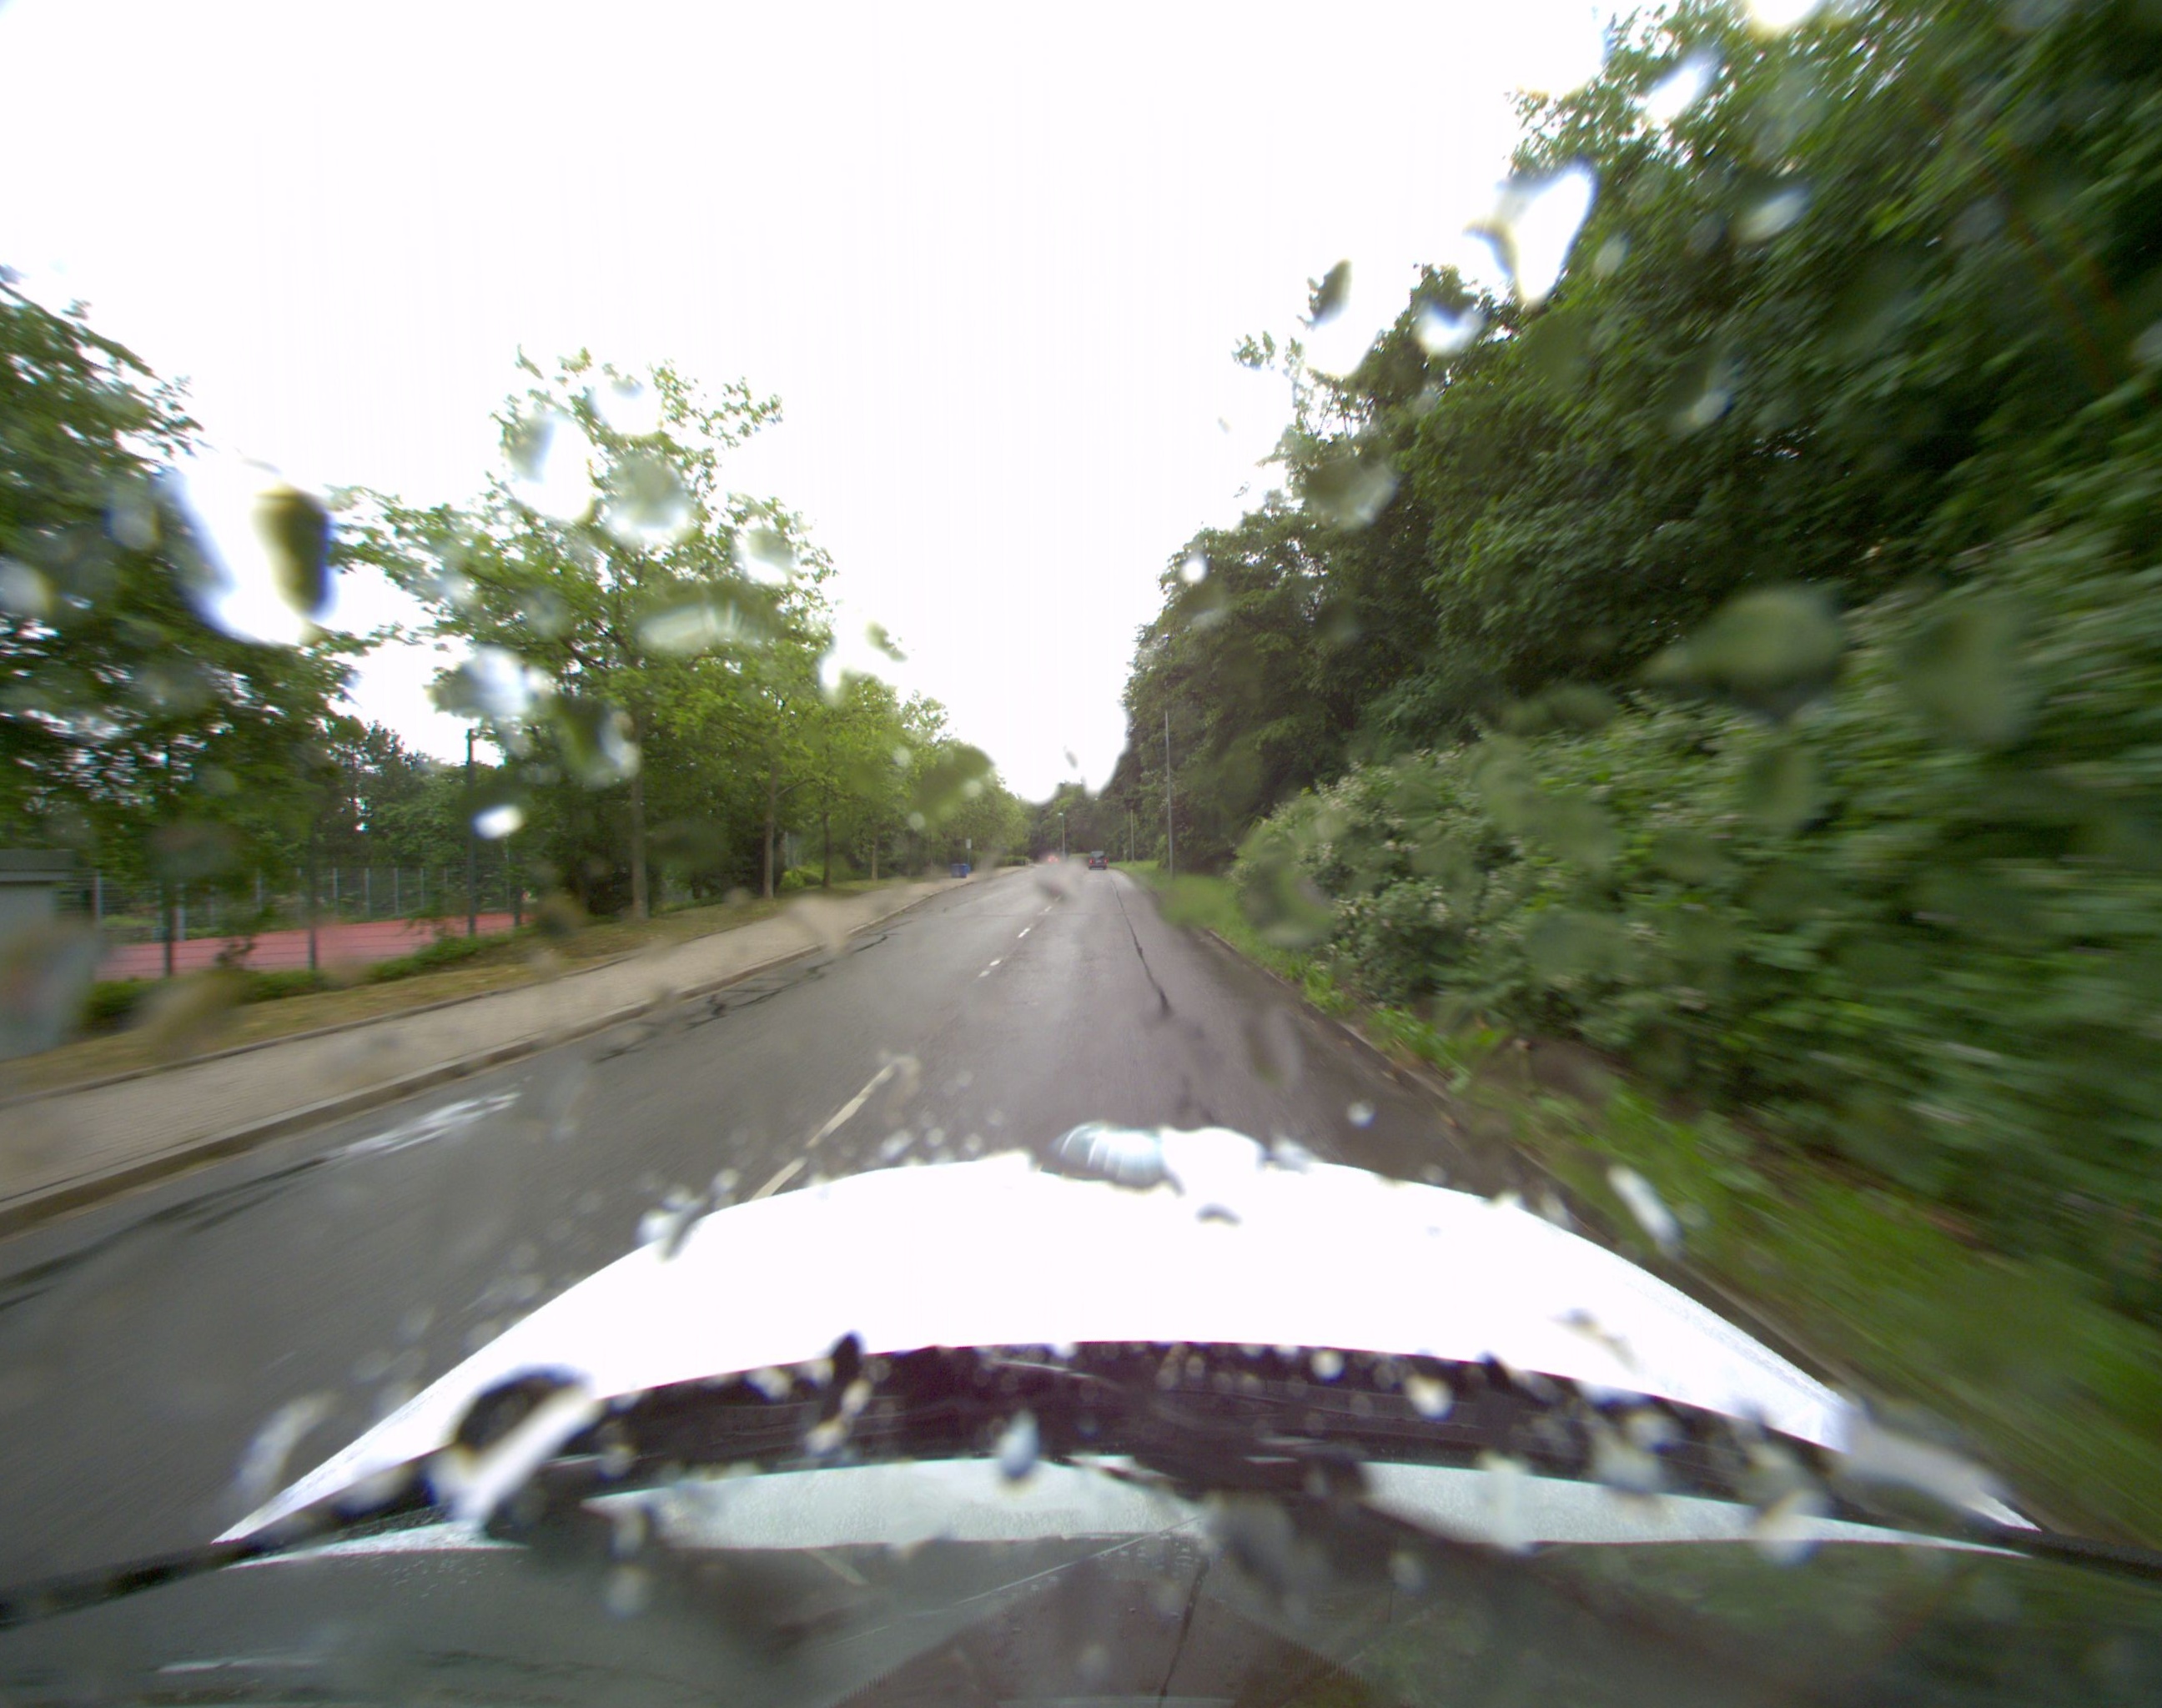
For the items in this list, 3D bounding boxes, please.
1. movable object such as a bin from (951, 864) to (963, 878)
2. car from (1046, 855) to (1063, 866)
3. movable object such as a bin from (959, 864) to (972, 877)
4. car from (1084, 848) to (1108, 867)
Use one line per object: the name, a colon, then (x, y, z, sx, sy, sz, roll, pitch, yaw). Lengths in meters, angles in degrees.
movable object such as a bin: (-9.716, 1.360, 63.739, 0.670, 1.026, 0.827, -4, 0, -30)
car: (-4.425, 1.043, 137.076, 1.996, 1.772, 3.981, -2, 0, -14)
movable object such as a bin: (-9.108, 1.305, 64.094, 0.670, 1.026, 0.827, -4, 0, -30)
car: (1.491, 0.336, 83.321, 1.991, 1.793, 3.992, 1, 1, -6)
